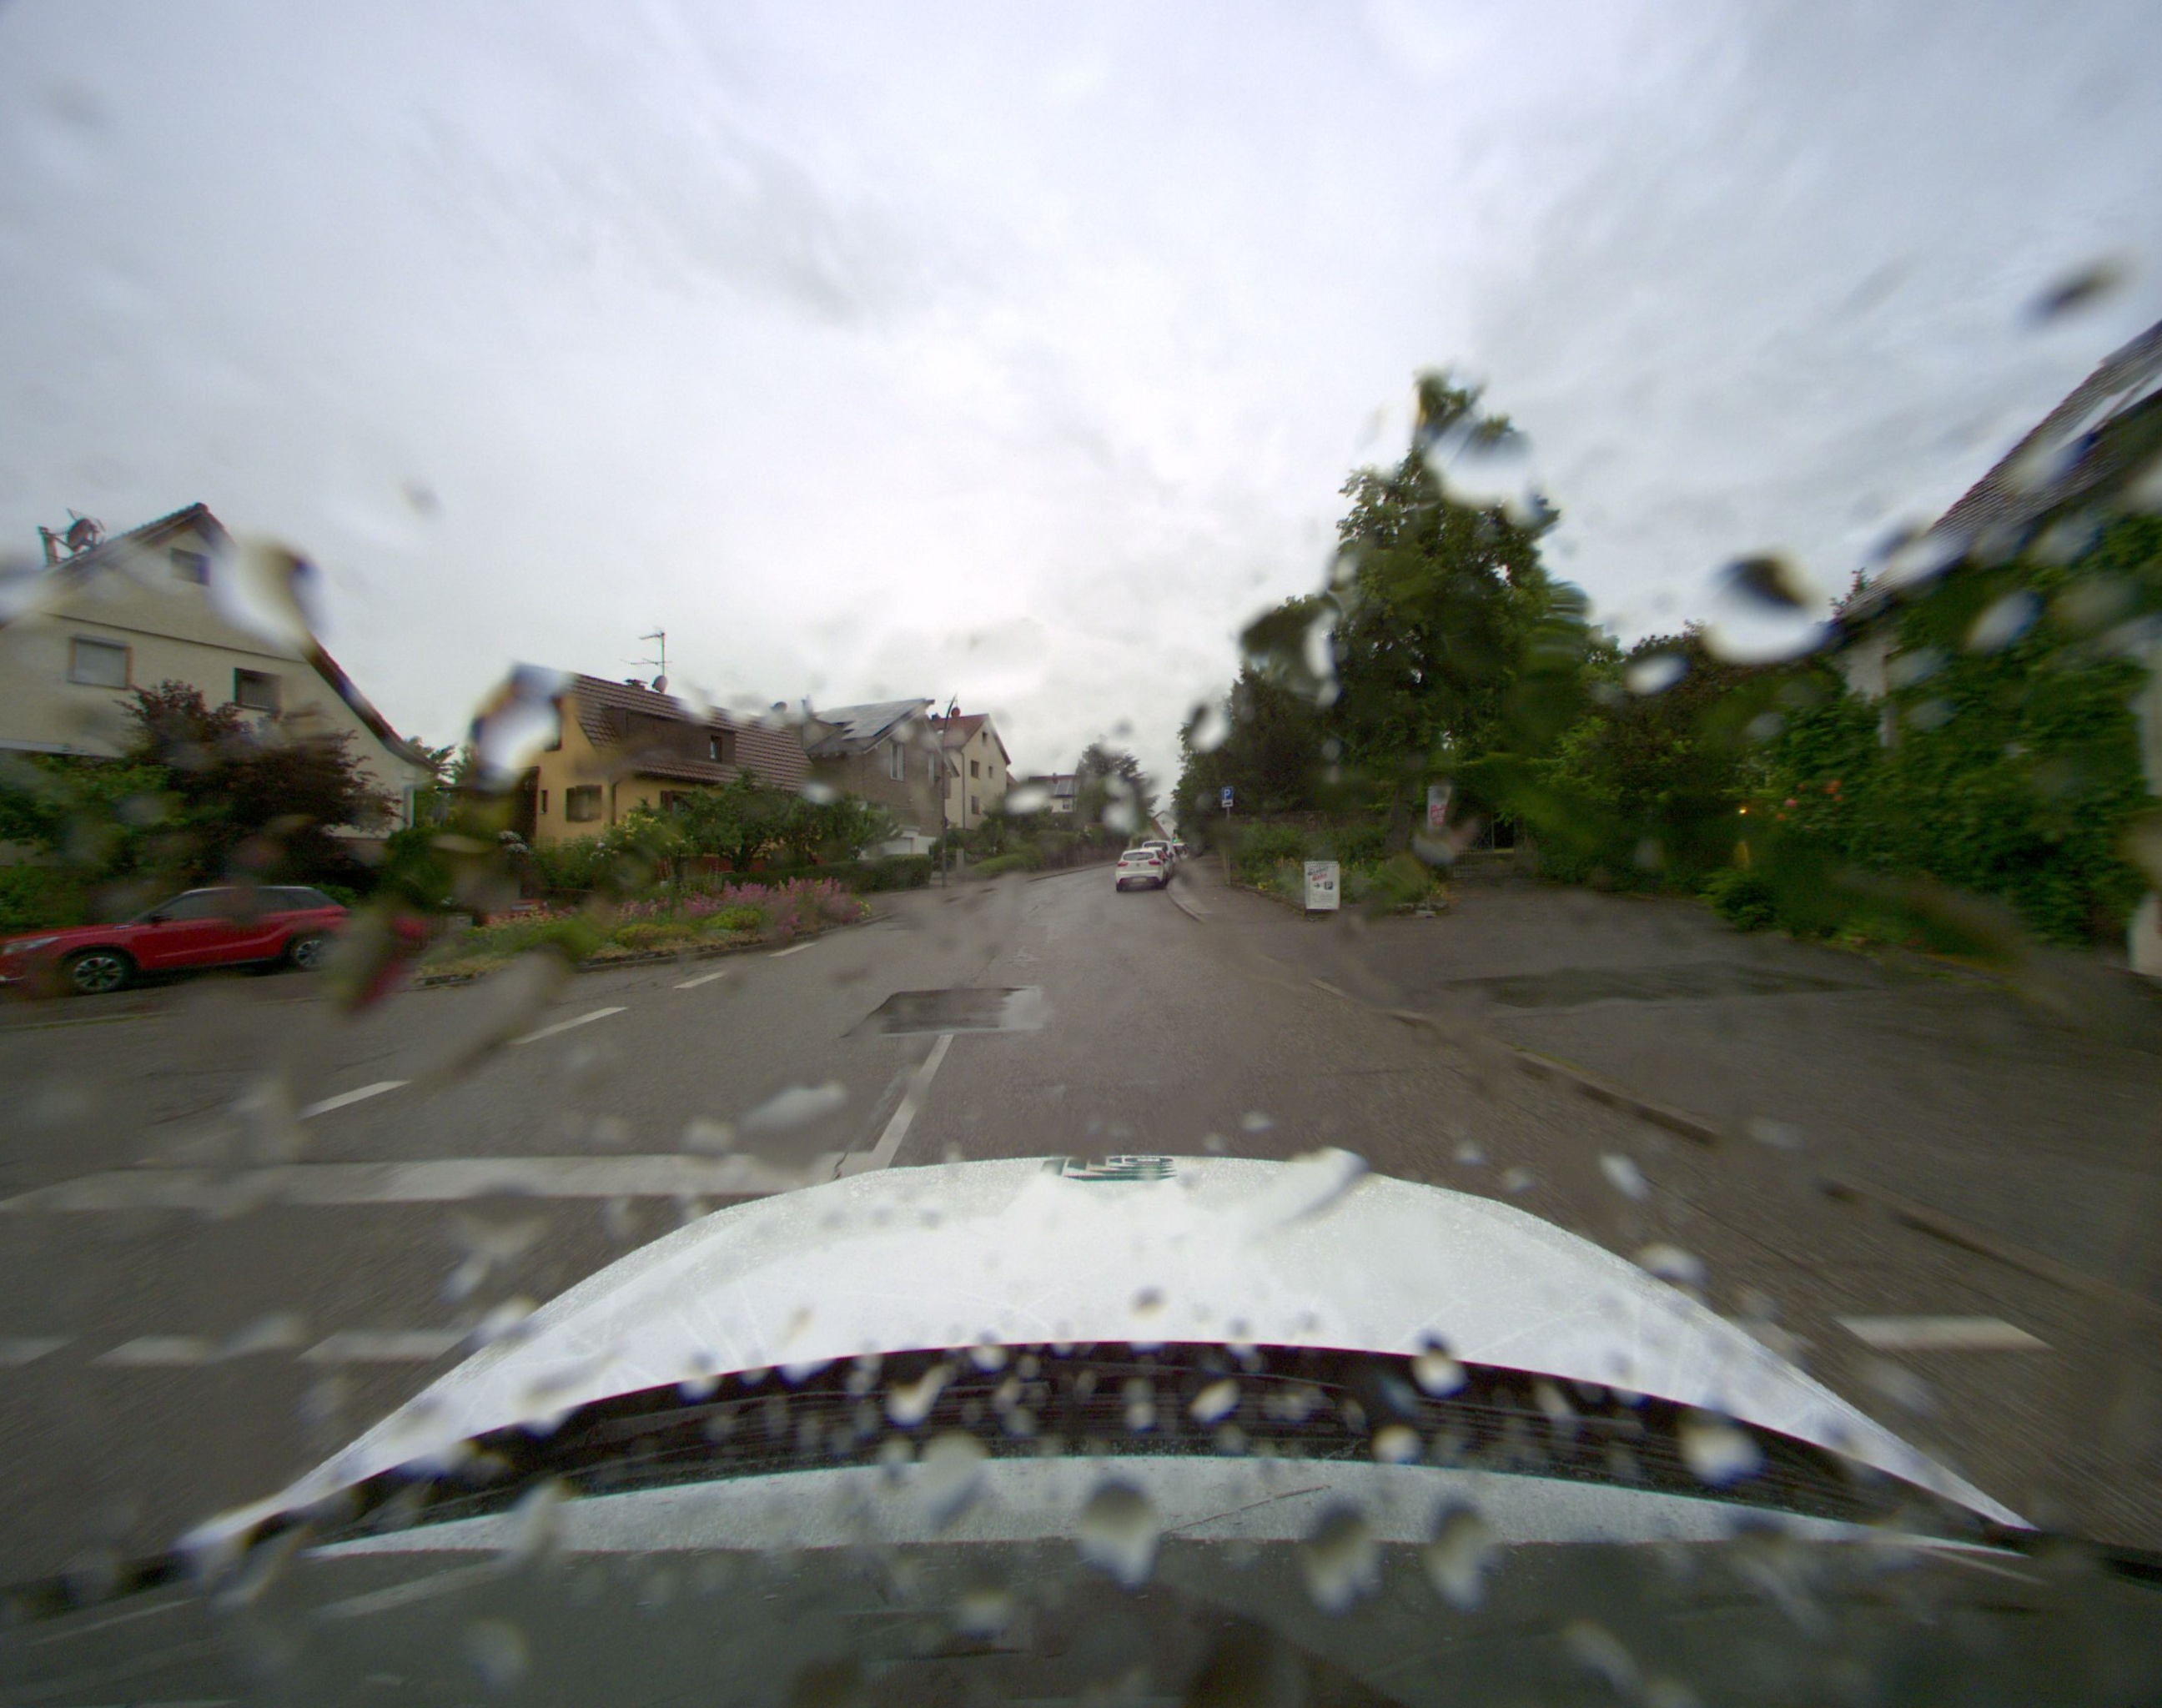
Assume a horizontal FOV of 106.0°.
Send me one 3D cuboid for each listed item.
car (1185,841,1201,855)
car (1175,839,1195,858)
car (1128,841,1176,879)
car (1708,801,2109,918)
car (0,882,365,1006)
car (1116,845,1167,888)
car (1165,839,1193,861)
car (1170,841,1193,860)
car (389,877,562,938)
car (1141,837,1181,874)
[{"bbox_3d":[12.162,-0.643,88.756,1.642,1.371,4.191,-2,0,8],"label":"car"},{"bbox_3d":[9.630,-0.500,75.253,1.732,1.668,4.507,-2,0,8],"label":"car"},{"bbox_3d":[3.144,0.231,35.413,1.635,1.462,4.013,-1,2,11],"label":"car"},{"bbox_3d":[12.468,0.081,12.571,4.070,1.459,1.682,-3,1,12],"label":"car"},{"bbox_3d":[-15.222,1.396,13.935,1.733,1.562,4.042,-3,1,24],"label":"car"},{"bbox_3d":[2.324,0.423,30.523,1.603,1.480,4.047,-2,0,8],"label":"car"},{"bbox_3d":[7.604,-0.331,62.969,1.803,1.573,3.892,-2,0,11],"label":"car"},{"bbox_3d":[8.529,-0.289,68.926,1.755,1.447,4.706,-2,0,7],"label":"car"},{"bbox_3d":[-16.045,1.402,21.602,3.951,1.383,1.874,-2,1,23],"label":"car"},{"bbox_3d":[4.104,0.056,41.345,1.627,1.741,4.148,-2,0,10],"label":"car"}]
